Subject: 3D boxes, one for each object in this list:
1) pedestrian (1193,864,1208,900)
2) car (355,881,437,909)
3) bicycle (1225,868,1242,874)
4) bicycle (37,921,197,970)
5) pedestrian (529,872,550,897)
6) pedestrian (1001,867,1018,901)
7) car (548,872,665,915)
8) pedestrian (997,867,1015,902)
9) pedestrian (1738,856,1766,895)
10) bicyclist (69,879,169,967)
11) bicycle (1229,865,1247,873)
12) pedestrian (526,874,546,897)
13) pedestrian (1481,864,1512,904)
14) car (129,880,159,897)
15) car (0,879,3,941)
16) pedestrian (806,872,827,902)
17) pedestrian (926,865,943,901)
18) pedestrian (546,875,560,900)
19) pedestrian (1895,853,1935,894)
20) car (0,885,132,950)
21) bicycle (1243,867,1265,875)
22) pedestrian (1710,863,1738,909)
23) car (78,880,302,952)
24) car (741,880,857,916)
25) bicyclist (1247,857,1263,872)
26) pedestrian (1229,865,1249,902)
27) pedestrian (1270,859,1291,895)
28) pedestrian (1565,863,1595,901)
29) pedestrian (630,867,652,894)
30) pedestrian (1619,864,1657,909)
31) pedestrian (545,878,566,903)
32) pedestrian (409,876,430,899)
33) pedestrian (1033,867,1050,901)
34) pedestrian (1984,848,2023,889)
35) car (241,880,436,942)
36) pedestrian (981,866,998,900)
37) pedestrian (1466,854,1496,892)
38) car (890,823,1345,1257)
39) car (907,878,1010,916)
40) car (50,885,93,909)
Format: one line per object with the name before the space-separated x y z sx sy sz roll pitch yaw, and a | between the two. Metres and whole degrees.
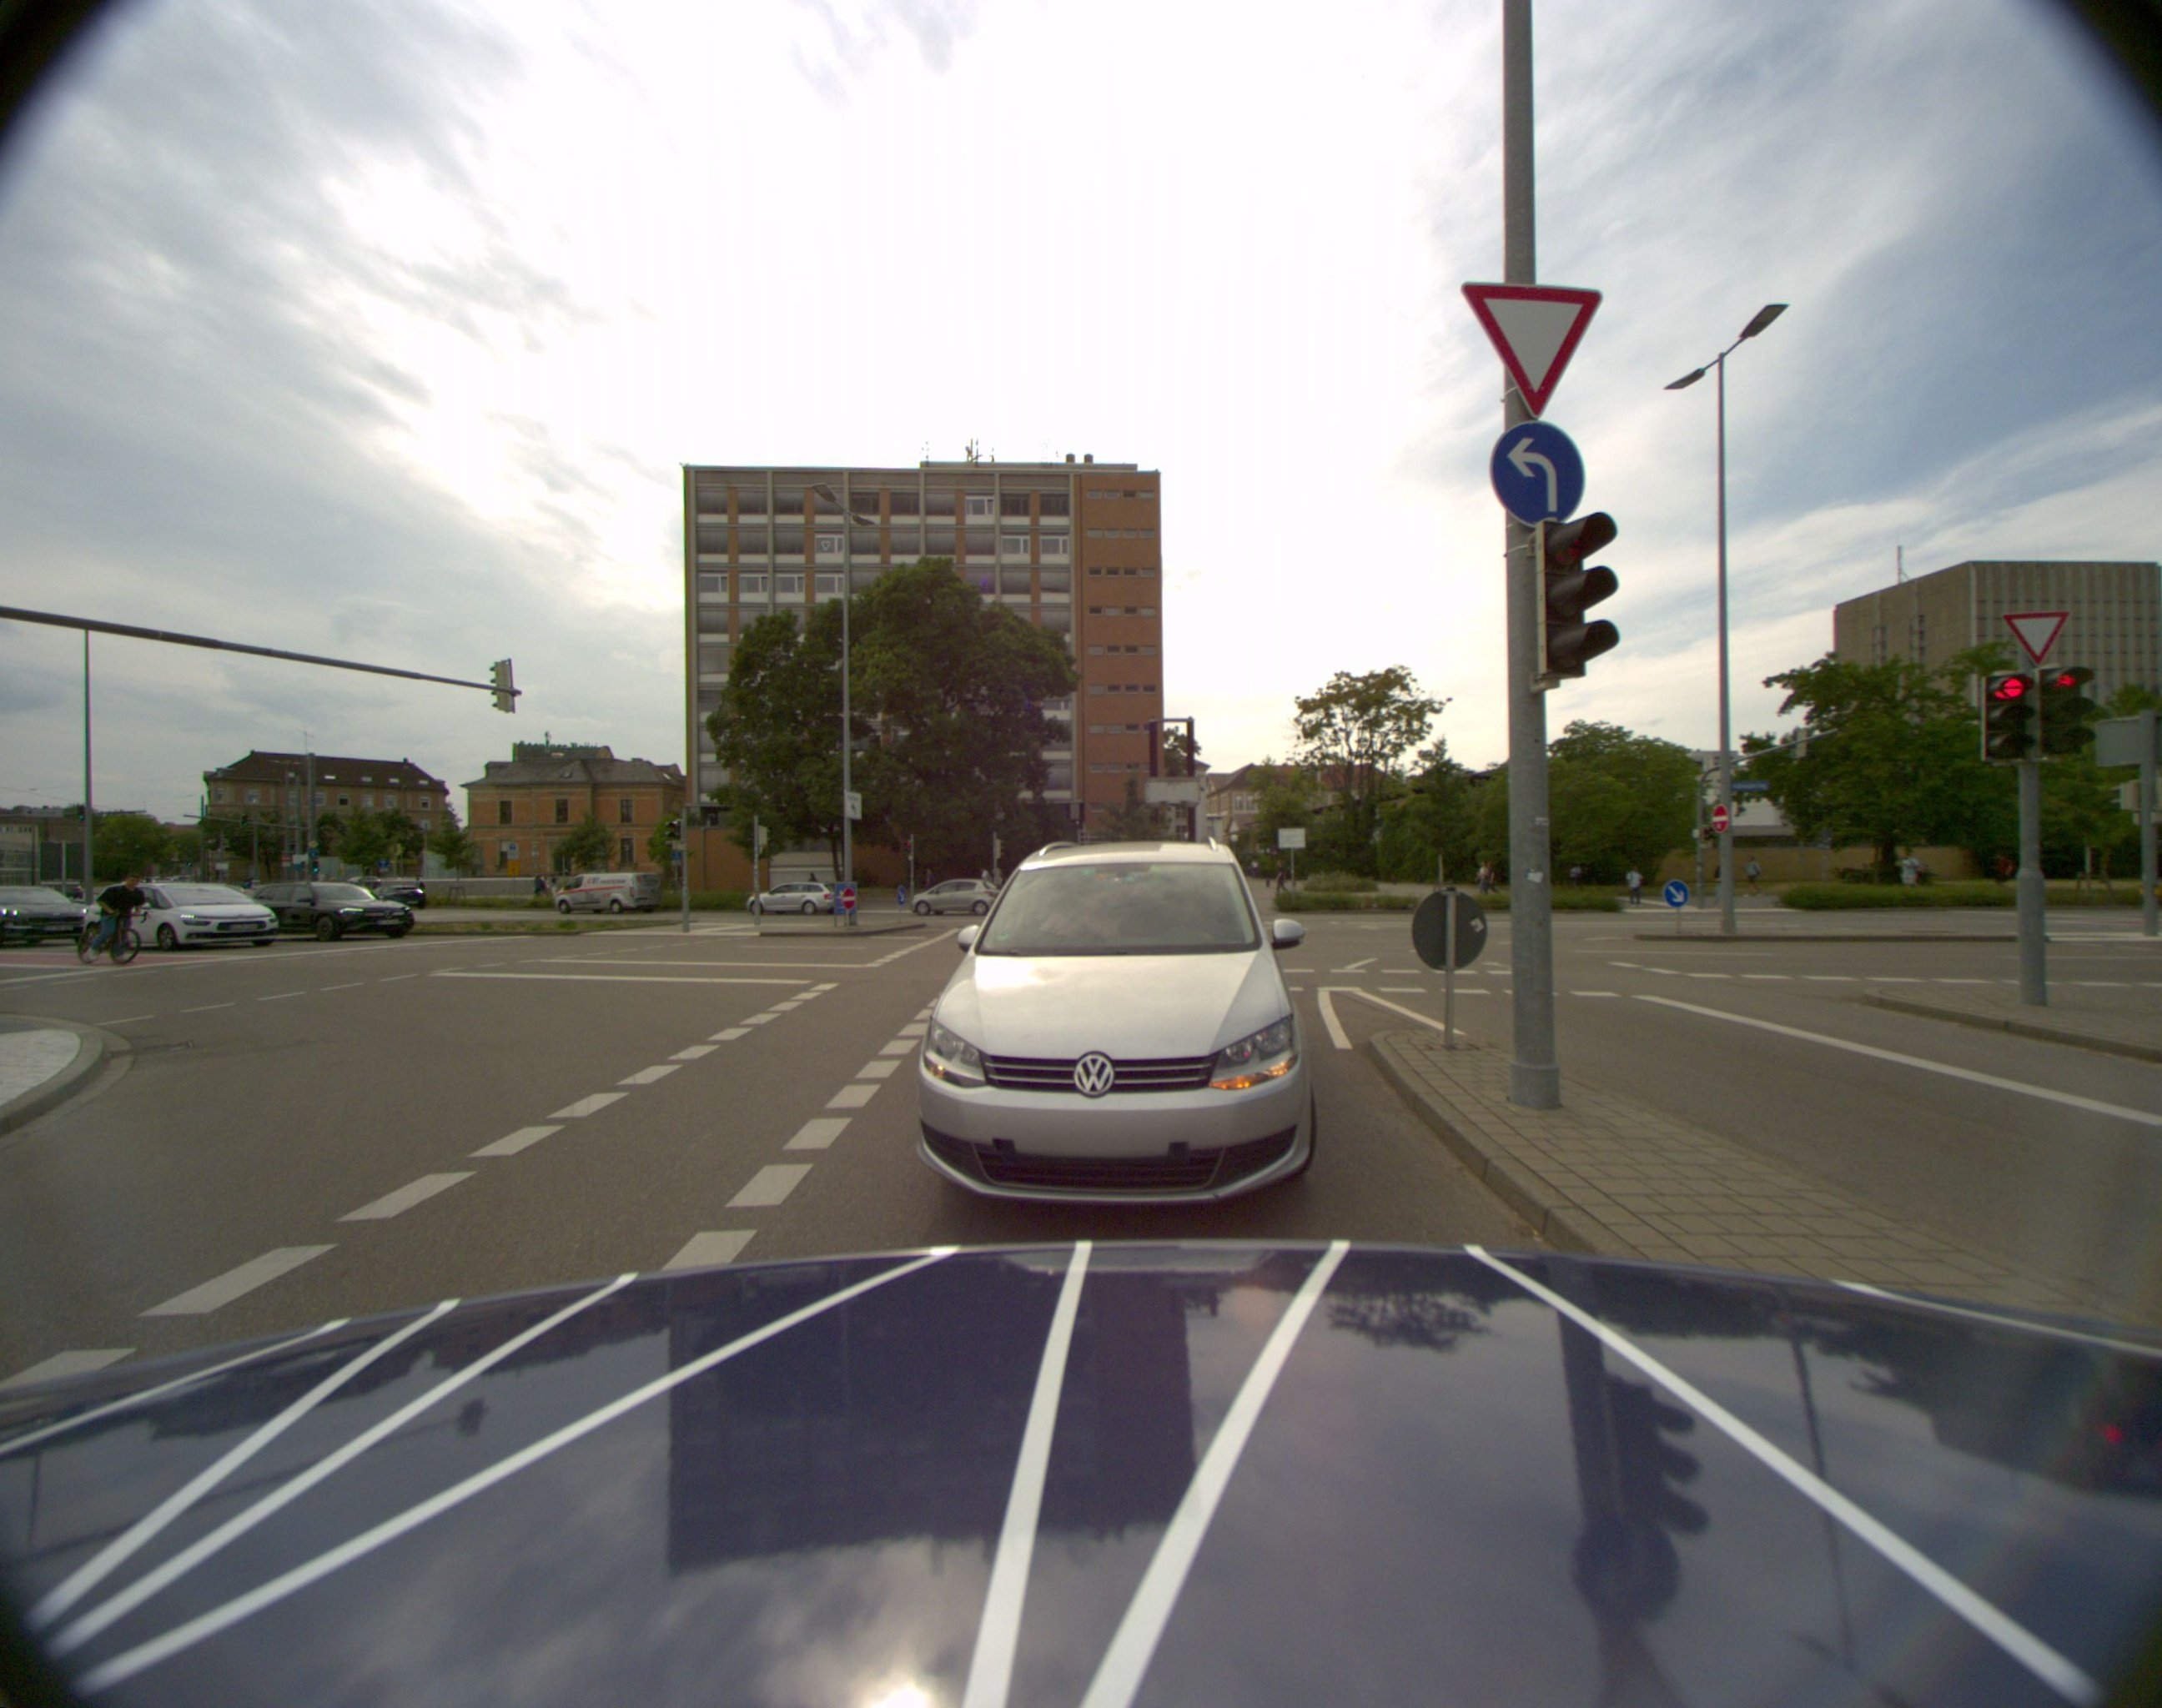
pedestrian | 5.740 1.326 36.451 0.633 1.700 0.674 -1 -2 5
car | -39.372 2.367 43.674 3.993 1.523 1.867 -2 -2 21
bicycle | 17.057 1.919 85.038 1.842 0.689 0.653 -1 -2 10
bicycle | -18.735 1.772 14.778 2.515 0.871 0.866 -1 -2 11
pedestrian | -35.102 1.957 49.285 0.810 1.565 0.782 -1 1 28
pedestrian | -3.575 1.509 38.077 0.707 1.700 0.640 -1 -2 5
car | -22.967 1.907 36.818 5.194 1.947 1.828 -2 -2 17
pedestrian | -3.689 1.504 37.378 0.707 1.701 0.640 -1 1 5
pedestrian | 29.123 0.920 32.977 0.694 1.686 0.544 -1 2 -1
bicyclist | -18.700 1.325 14.790 0.879 1.658 0.871 -1 -2 11
bicycle | 16.584 1.584 80.104 1.842 0.689 0.653 -1 -2 10
pedestrian | -37.736 2.173 52.614 0.810 1.565 0.782 -1 1 28
pedestrian | 18.389 1.328 33.603 0.800 1.700 0.839 -1 -2 -13
car | -95.308 3.491 77.290 3.536 1.605 1.845 -3 -3 39
car | -35.147 1.718 22.741 4.282 1.886 2.003 -2 -2 16
pedestrian | -14.626 1.825 42.019 0.811 1.565 0.780 -1 1 5
pedestrian | -7.644 1.498 39.624 0.707 1.841 0.640 -1 0 5
pedestrian | -33.784 2.138 48.586 0.550 1.528 0.548 -2 1 -18
pedestrian | 35.460 0.840 32.327 0.694 1.700 0.842 -1 -2 -1
car | -28.998 1.723 20.964 4.282 1.640 2.003 -2 -2 16
bicycle | 15.485 1.490 67.885 1.848 0.689 0.842 0 -3 -30
pedestrian | 24.160 1.219 28.543 0.587 1.700 0.481 -1 -2 7
car | -22.131 1.514 18.919 4.282 1.640 2.003 -2 -2 16
car | -12.371 1.933 33.393 4.520 1.465 1.828 -2 -2 14
bicyclist | 15.571 0.928 67.955 1.014 1.269 0.838 0 -2 -30
pedestrian | 7.377 1.362 35.525 0.799 1.700 0.840 -1 -2 5
pedestrian | 9.507 1.100 36.247 0.799 1.700 0.840 -1 -2 5
pedestrian | 22.185 1.247 33.818 0.799 1.700 0.715 -1 -2 -1
pedestrian | -26.343 1.576 45.506 0.810 1.565 0.781 -1 1 24
pedestrian | 21.663 1.267 29.557 0.838 1.700 0.800 -1 -2 7
pedestrian | -33.669 2.335 48.709 0.810 1.565 0.782 -1 1 28
pedestrian | -44.916 2.270 51.565 0.810 1.565 0.782 -1 1 28
pedestrian | -1.998 1.499 38.289 0.707 1.701 0.640 -1 2 5
pedestrian | 38.824 0.629 31.993 0.694 1.700 0.715 -1 -2 2
car | -21.063 1.609 21.597 4.503 1.640 2.003 -2 -2 16
pedestrian | -4.679 1.490 38.969 0.707 1.701 0.640 -1 0 5
pedestrian | 18.138 0.873 34.478 0.800 1.700 0.839 -1 -2 -13
car | 0.285 0.850 5.360 1.823 1.723 4.532 -1 -2 4
car | -5.055 1.767 31.529 3.868 1.480 1.674 -2 -2 14
car | -87.511 3.698 65.867 3.989 2.001 2.005 -3 -3 34
